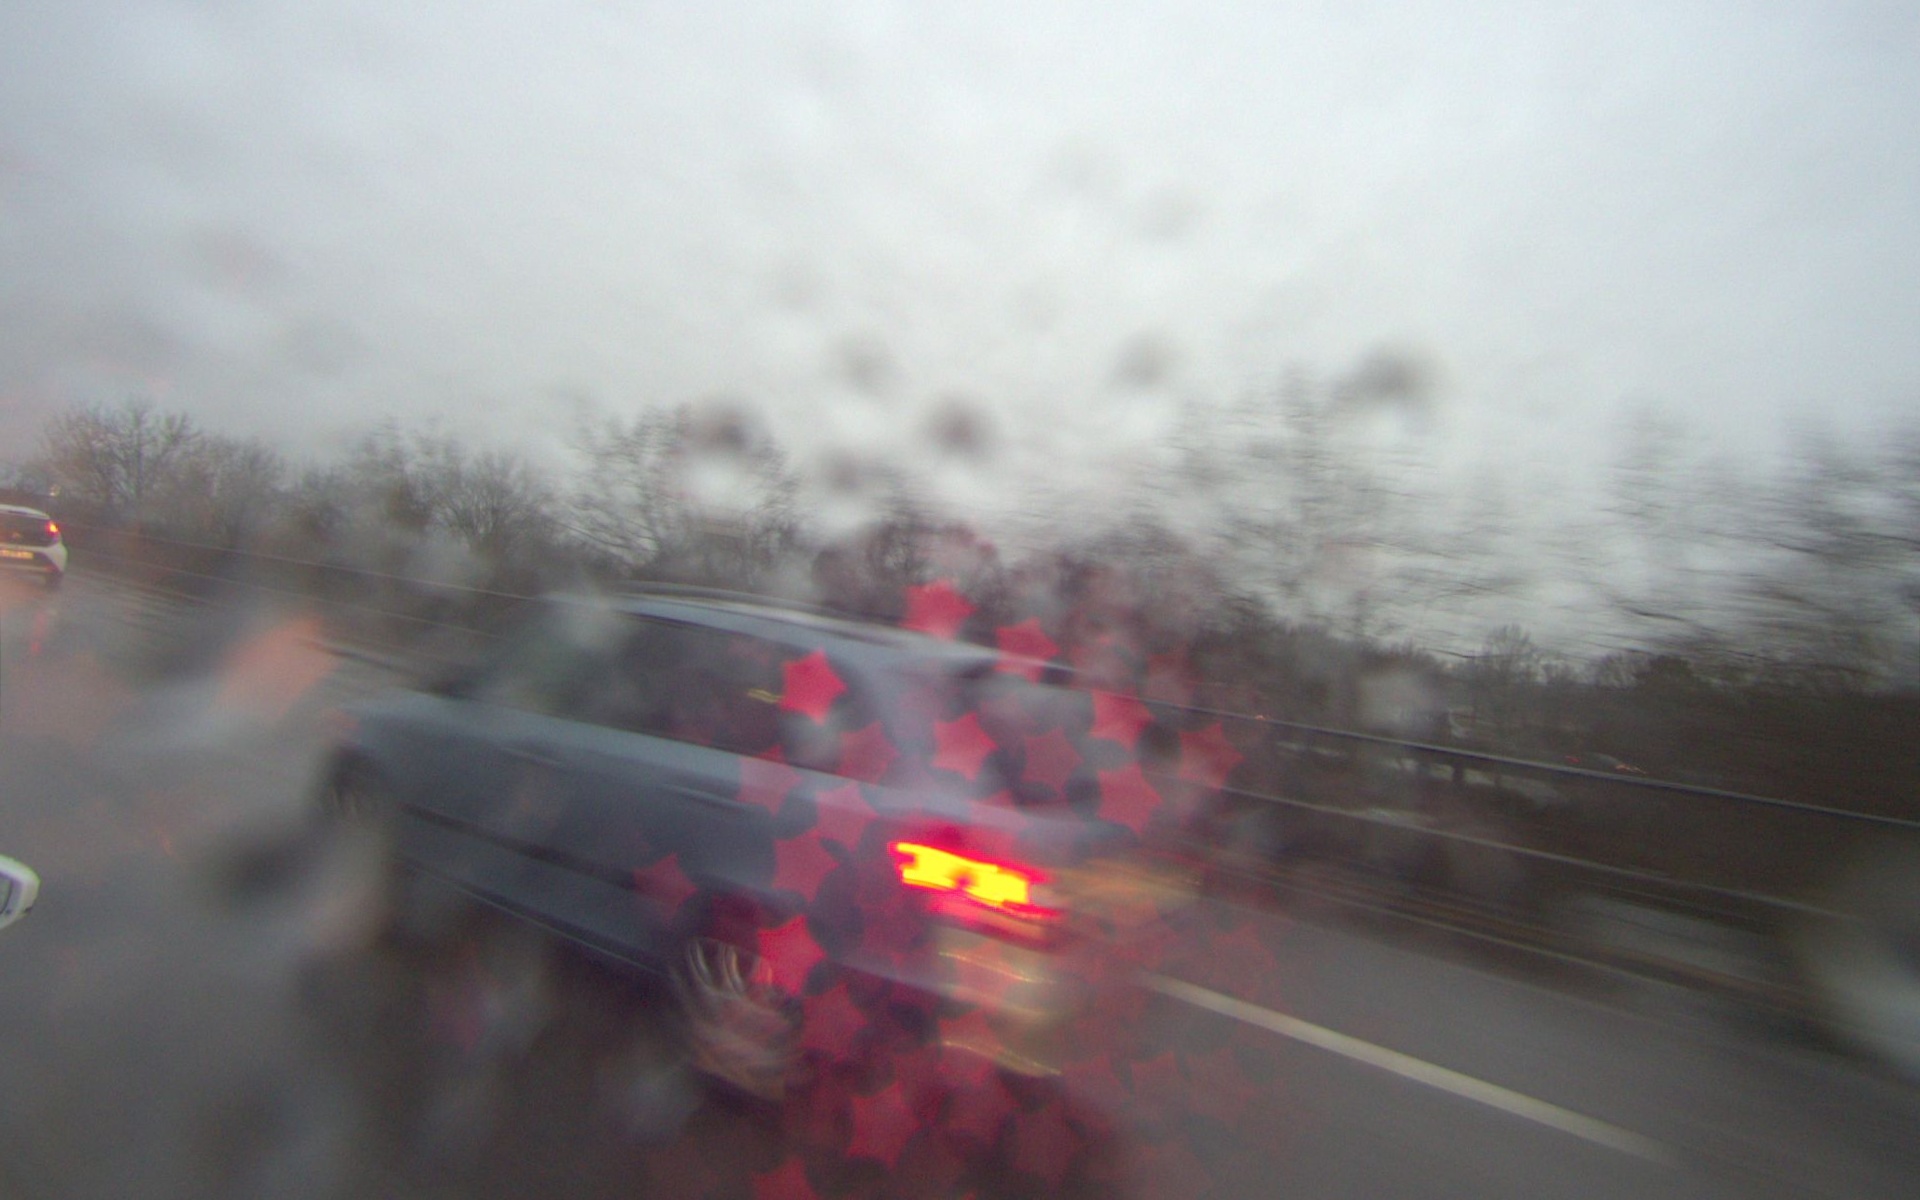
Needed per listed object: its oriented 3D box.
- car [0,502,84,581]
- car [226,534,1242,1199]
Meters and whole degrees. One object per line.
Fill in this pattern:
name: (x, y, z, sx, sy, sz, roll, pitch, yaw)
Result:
car: (-19.952, -1.353, 20.589, 3.935, 1.361, 1.996, 7, -1, 33)
car: (-1.143, 0.719, 4.440, 4.071, 1.518, 1.996, 6, -1, 33)
